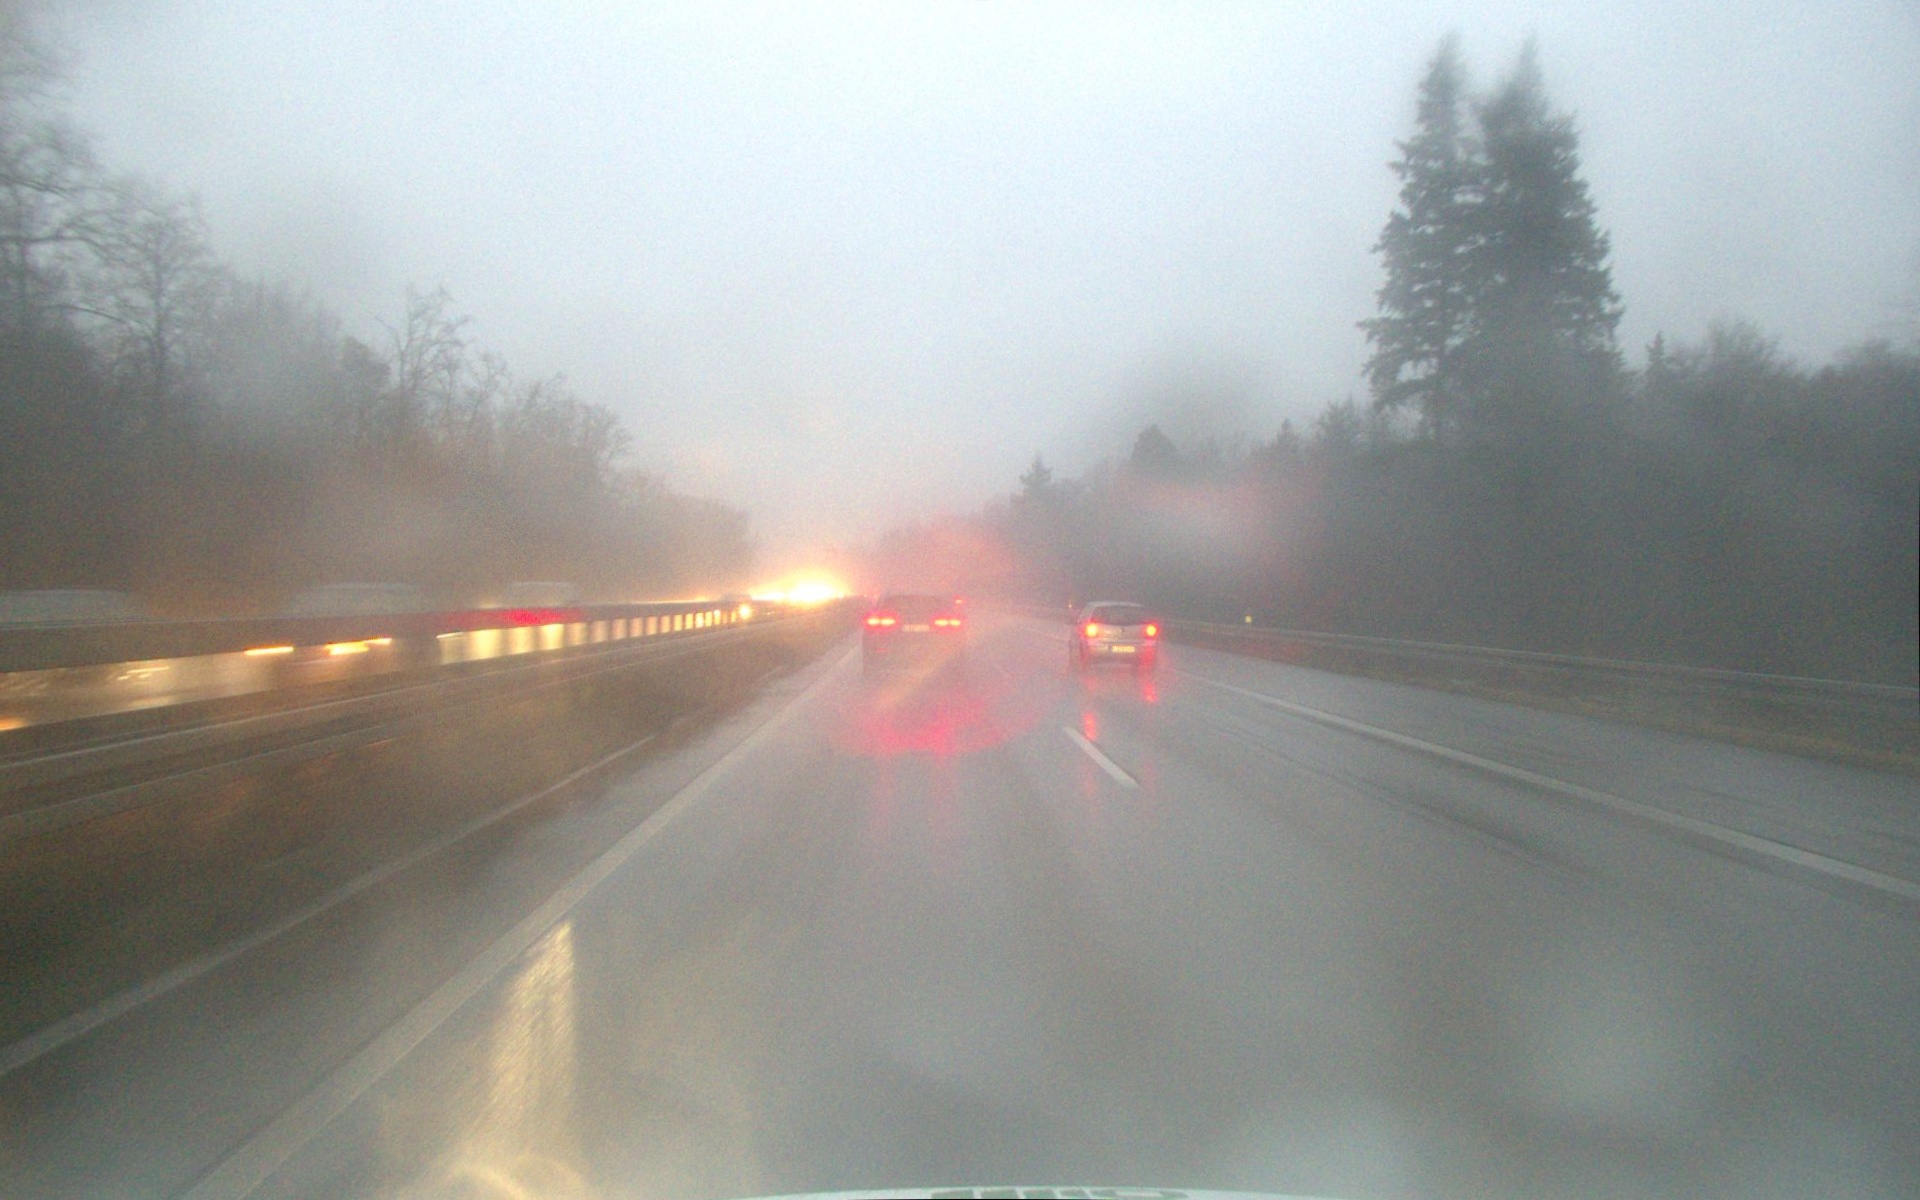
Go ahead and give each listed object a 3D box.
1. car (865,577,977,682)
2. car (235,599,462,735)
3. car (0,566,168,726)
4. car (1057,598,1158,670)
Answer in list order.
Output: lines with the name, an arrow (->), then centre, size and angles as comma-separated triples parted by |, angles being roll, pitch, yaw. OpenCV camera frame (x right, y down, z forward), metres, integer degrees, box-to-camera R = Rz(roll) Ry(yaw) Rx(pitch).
car -> -0.750, 0.506, 30.900 | 1.946, 1.798, 4.171 | 1, 0, -2
car -> -8.017, 0.820, 22.005 | 1.687, 1.635, 3.513 | 0, 0, 0
car -> -12.007, 0.513, 21.040 | 1.943, 1.838, 4.000 | 0, 0, 0
car -> 3.177, 0.706, 36.201 | 1.744, 1.462, 3.536 | 1, 0, -2
